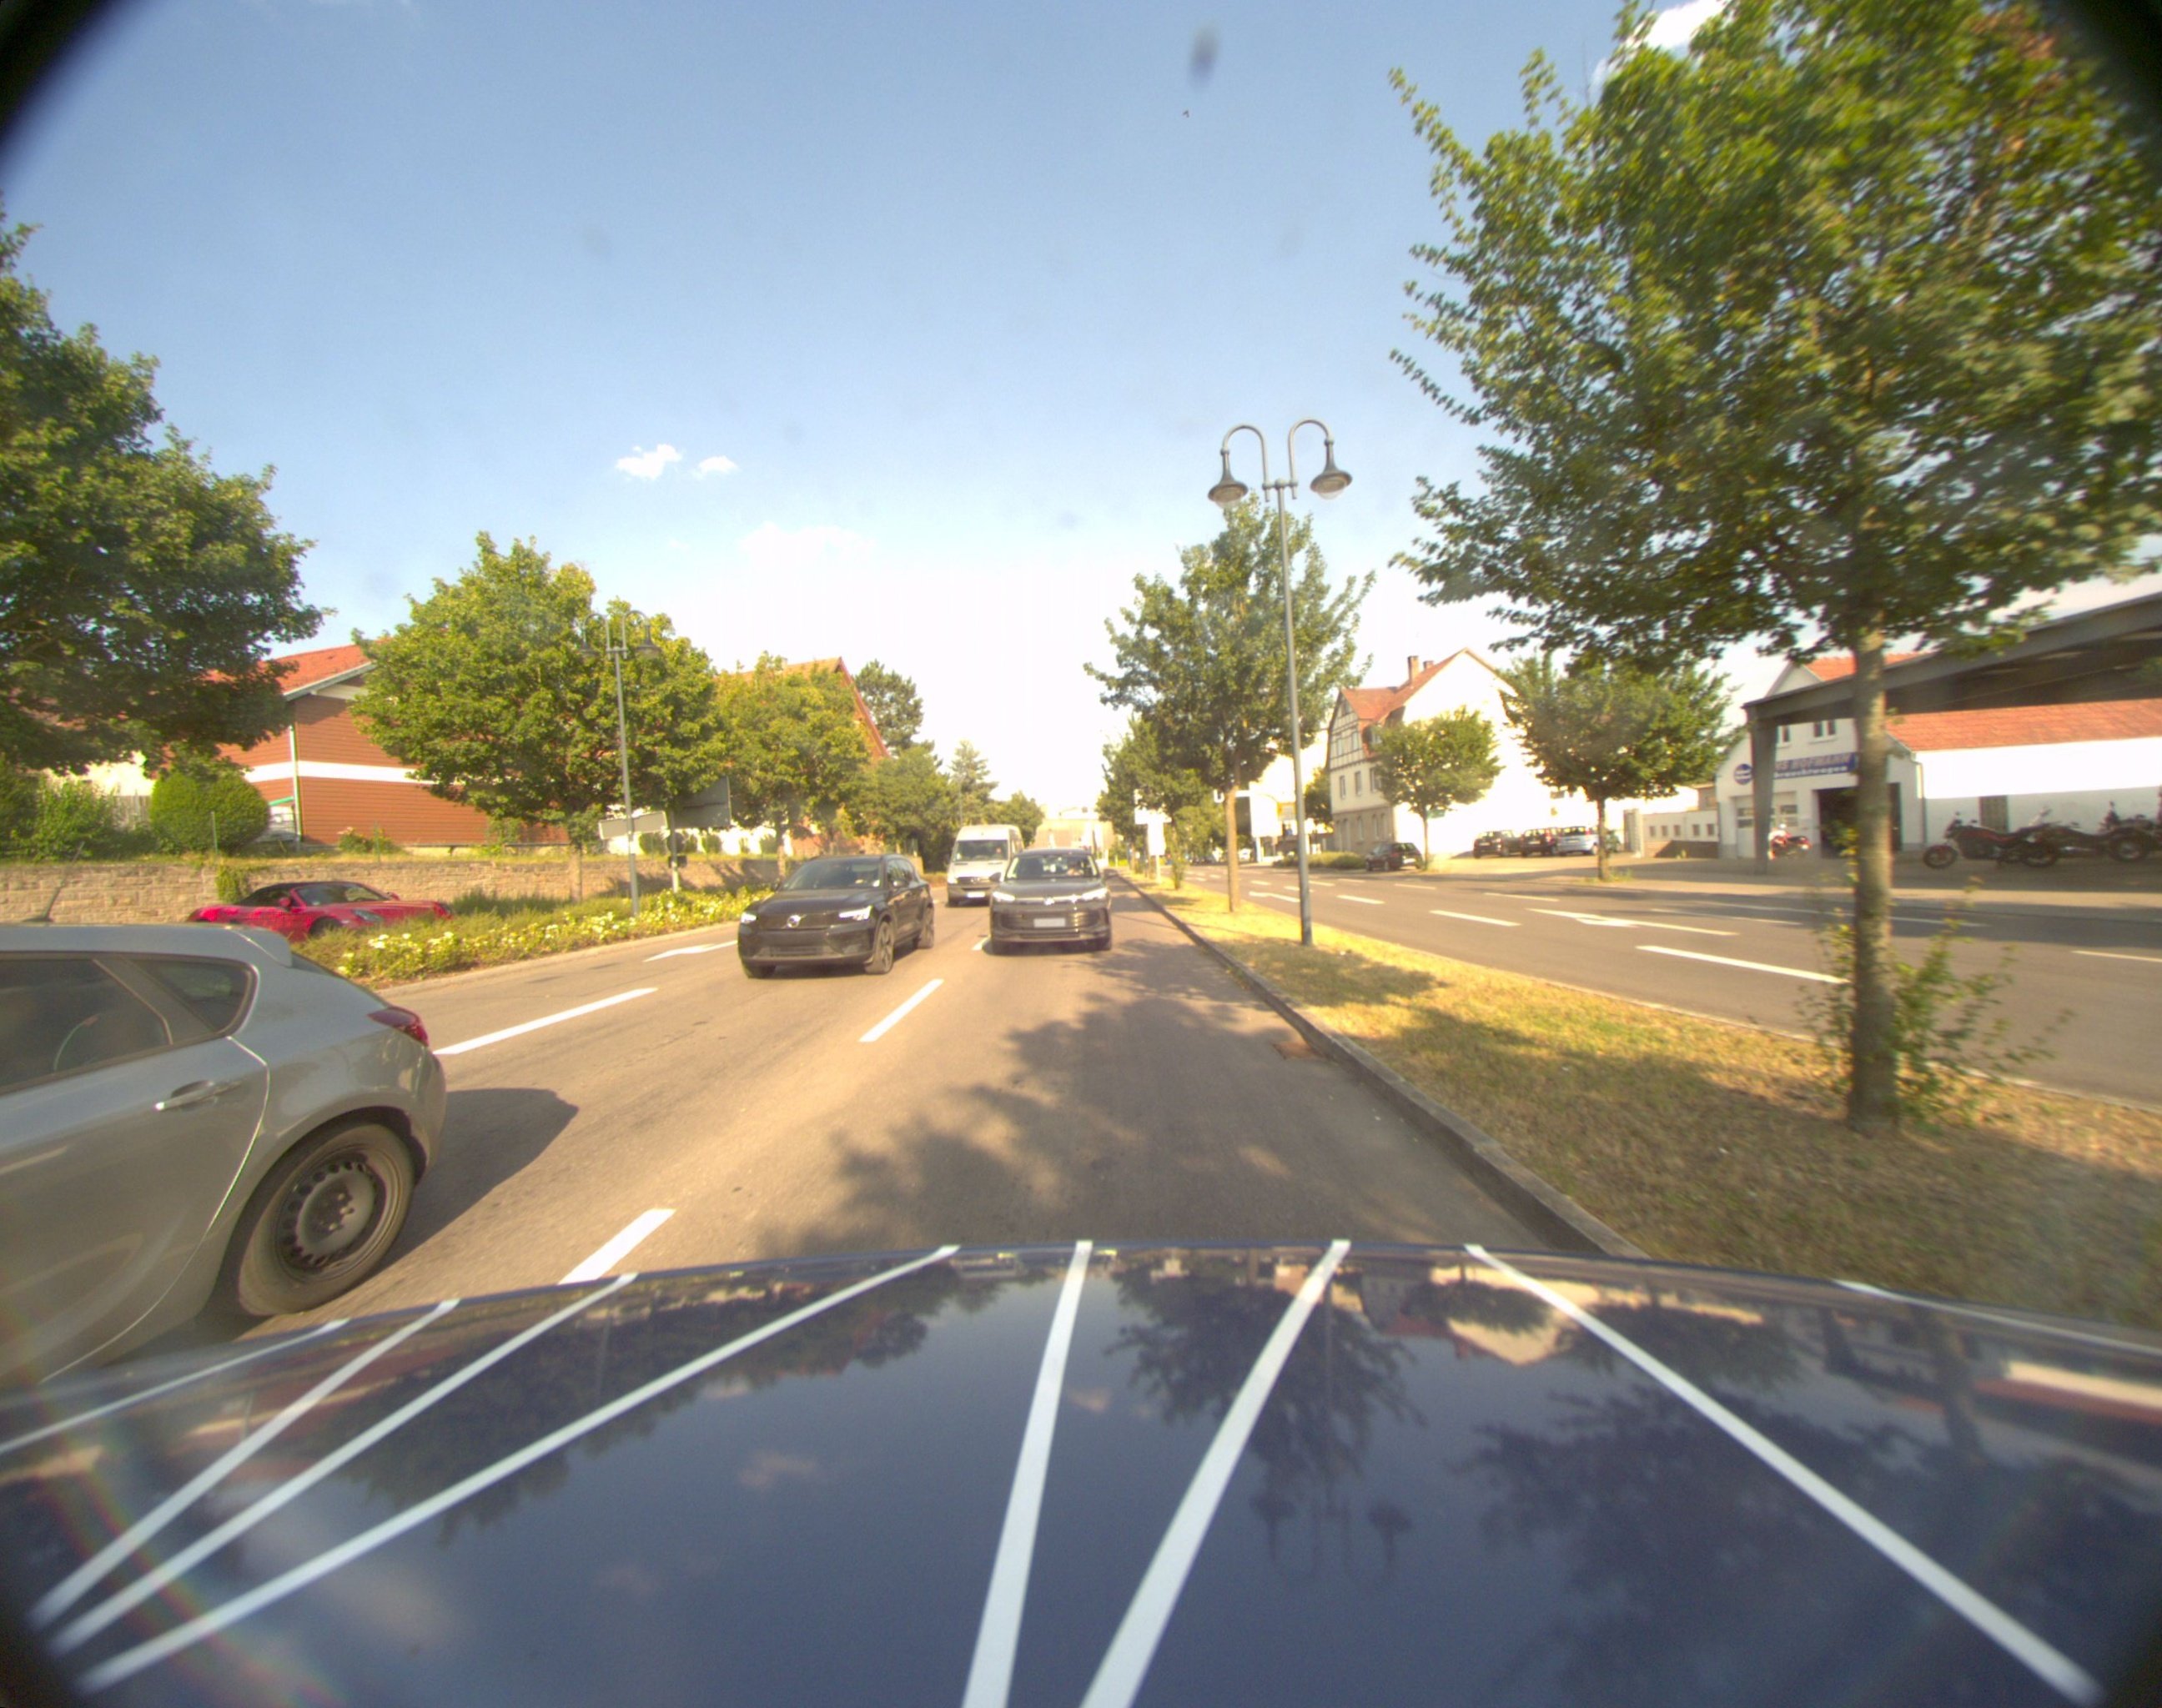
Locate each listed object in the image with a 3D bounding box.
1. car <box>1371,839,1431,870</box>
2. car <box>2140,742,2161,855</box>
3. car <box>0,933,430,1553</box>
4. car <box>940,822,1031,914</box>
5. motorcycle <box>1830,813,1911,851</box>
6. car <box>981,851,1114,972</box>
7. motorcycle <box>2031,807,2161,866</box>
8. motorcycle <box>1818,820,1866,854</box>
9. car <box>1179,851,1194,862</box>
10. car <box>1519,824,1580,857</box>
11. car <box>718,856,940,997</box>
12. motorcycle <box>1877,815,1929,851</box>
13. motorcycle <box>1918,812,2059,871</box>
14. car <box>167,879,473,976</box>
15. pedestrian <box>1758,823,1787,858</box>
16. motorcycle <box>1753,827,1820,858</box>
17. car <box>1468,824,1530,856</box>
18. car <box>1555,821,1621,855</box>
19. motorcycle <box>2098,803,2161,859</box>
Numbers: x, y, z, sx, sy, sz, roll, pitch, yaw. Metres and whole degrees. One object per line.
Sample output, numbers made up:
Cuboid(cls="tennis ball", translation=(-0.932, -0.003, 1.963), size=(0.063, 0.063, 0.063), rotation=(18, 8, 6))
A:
Cuboid(cls="car", translation=(16.051, -0.003, 38.319), size=(1.672, 1.310, 3.432), rotation=(-6, 0, 4))
Cuboid(cls="car", translation=(30.634, -1.579, 18.338), size=(2.681, 2.942, 5.788), rotation=(-3, 0, -34))
Cuboid(cls="car", translation=(-3.534, 1.061, 1.070), size=(1.652, 1.414, 4.143), rotation=(-1, 0, 0))
Cuboid(cls="car", translation=(-3.064, 0.388, 25.856), size=(2.040, 2.643, 6.649), rotation=(-2, 1, 1))
Cuboid(cls="motorcycle", translation=(30.495, -0.848, 29.368), size=(2.114, 1.315, 0.489), rotation=(-3, 0, 22))
Cuboid(cls="car", translation=(-0.431, 0.801, 12.601), size=(1.768, 1.582, 4.056), rotation=(-3, 0, 1))
Cuboid(cls="motorcycle", translation=(24.315, -0.400, 18.039), size=(0.489, 1.315, 2.114), rotation=(-3, 0, -32))
Cuboid(cls="motorcycle", translation=(31.594, -0.724, 31.535), size=(2.120, 1.315, 0.488), rotation=(-3, 0, -19))
Cuboid(cls="car", translation=(21.504, 0.561, 154.393), size=(1.996, 2.002, 4.005), rotation=(-2, 1, 21))
Cuboid(cls="car", translation=(24.528, -0.703, 39.743), size=(3.437, 1.555, 1.583), rotation=(-3, 1, -38))
Cuboid(cls="car", translation=(-3.423, 0.881, 11.217), size=(1.792, 1.596, 4.056), rotation=(-2, 0, 1))
Cuboid(cls="motorcycle", translation=(32.650, -0.842, 30.173), size=(2.120, 1.315, 0.488), rotation=(-3, 0, -16))
Cuboid(cls="motorcycle", translation=(21.863, -0.276, 18.366), size=(0.489, 1.315, 2.114), rotation=(-3, 0, -30))
Cuboid(cls="car", translation=(-13.367, 1.263, 13.464), size=(3.994, 1.422, 1.749), rotation=(-2, 1, 9))
Cuboid(cls="pedestrian", translation=(27.244, -0.517, 29.945), size=(0.596, 1.332, 0.584), rotation=(-3, 1, -7))
Cuboid(cls="motorcycle", translation=(27.751, -0.448, 29.938), size=(0.488, 1.139, 2.118), rotation=(-3, 0, -6))
Cuboid(cls="car", translation=(23.037, -0.789, 41.865), size=(3.416, 1.616, 1.857), rotation=(-3, 1, -41))
Cuboid(cls="car", translation=(24.686, -0.798, 36.967), size=(3.437, 1.534, 1.617), rotation=(-2, 0, -38))
Cuboid(cls="motorcycle", translation=(26.407, -0.585, 18.370), size=(0.489, 1.315, 2.114), rotation=(-3, 0, -40))
